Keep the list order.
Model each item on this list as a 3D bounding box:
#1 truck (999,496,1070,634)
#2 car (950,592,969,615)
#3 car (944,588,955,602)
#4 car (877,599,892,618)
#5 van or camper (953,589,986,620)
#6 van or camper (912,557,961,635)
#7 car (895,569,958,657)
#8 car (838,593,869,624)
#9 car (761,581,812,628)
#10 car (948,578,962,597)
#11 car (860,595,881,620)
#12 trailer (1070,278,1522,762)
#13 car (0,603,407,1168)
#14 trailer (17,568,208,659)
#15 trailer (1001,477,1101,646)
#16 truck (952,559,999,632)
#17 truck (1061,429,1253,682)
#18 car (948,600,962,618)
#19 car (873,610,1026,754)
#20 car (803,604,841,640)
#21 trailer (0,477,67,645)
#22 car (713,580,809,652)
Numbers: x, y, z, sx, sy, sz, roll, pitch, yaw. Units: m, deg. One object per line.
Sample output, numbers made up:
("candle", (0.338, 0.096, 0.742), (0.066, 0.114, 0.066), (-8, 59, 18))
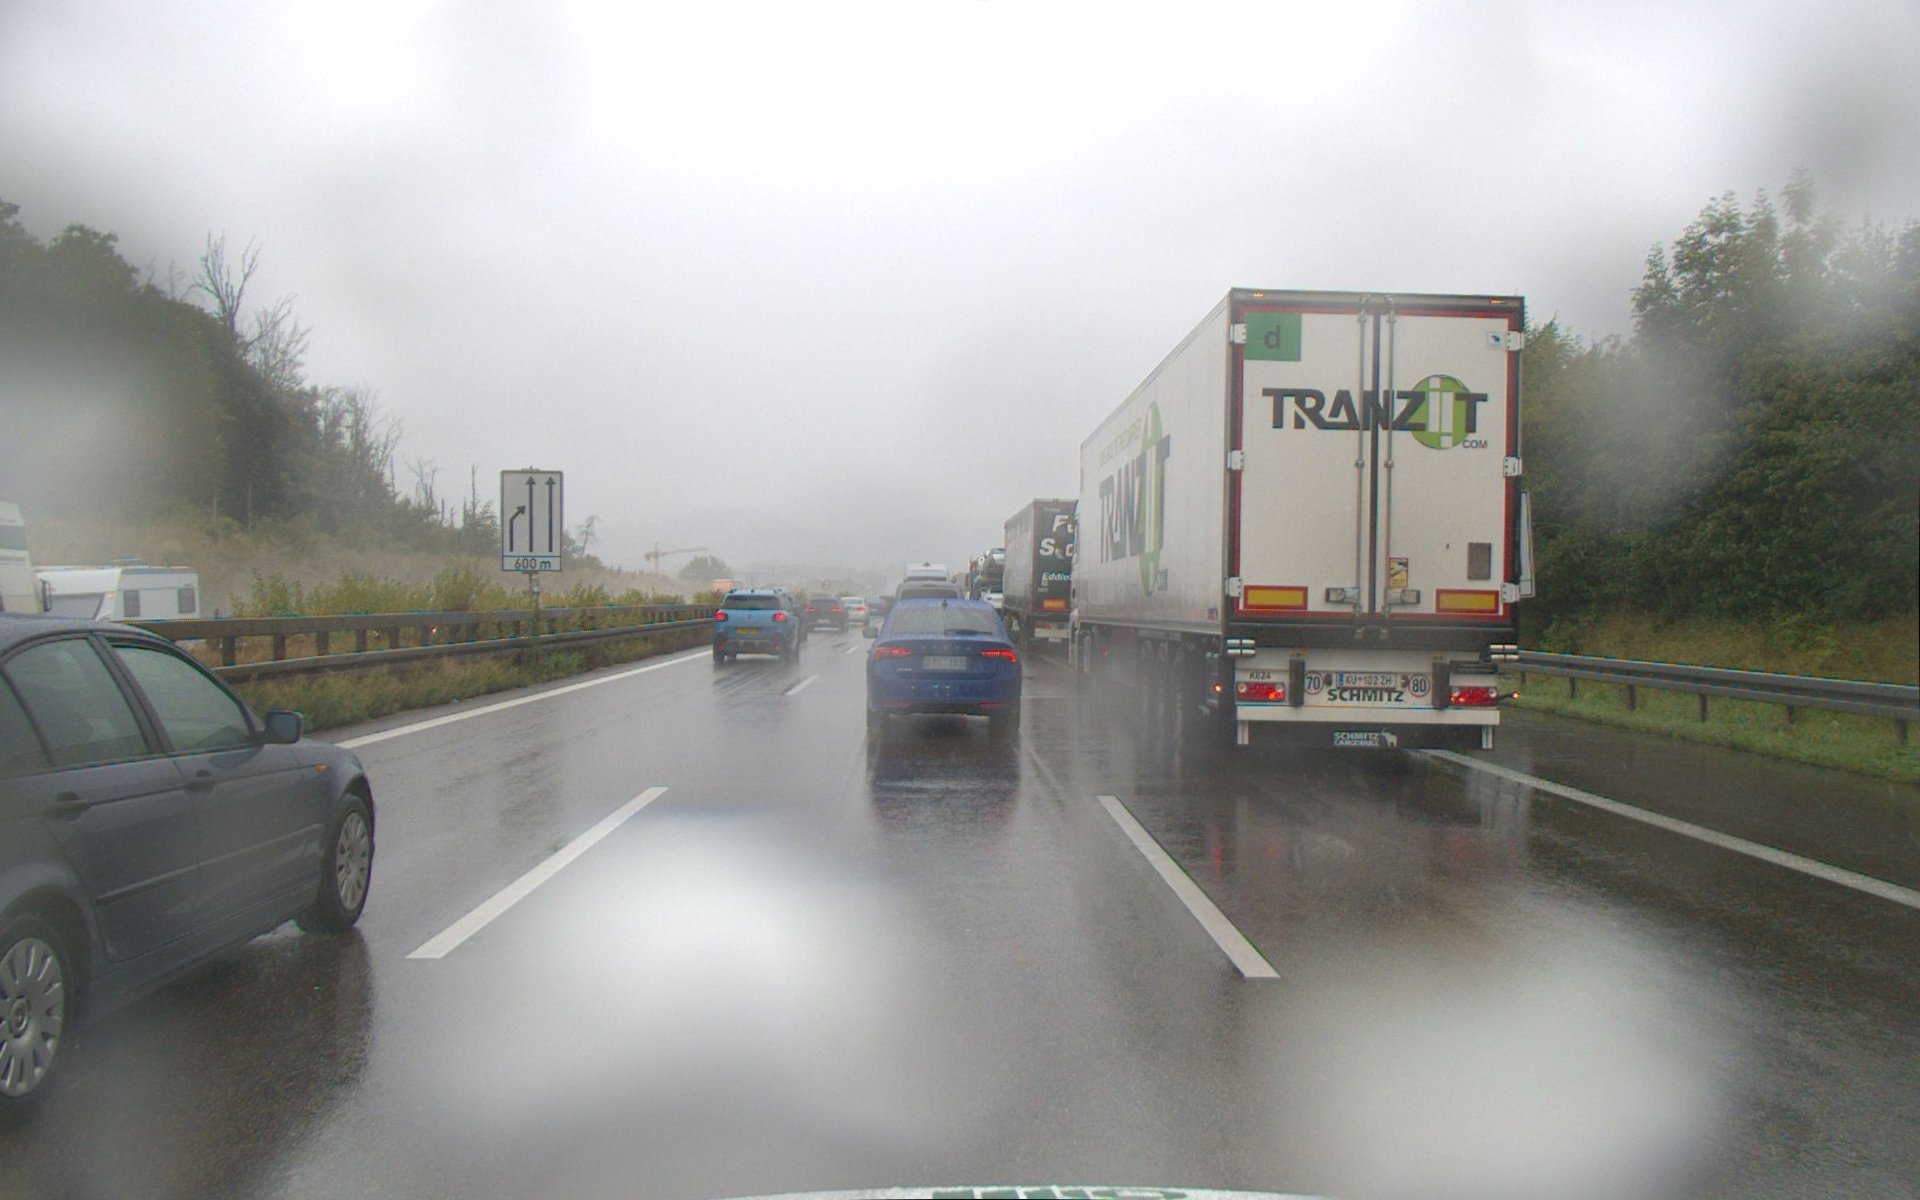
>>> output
("truck", (2.341, -1.097, 52.993), (2.005, 4.266, 3.999), (0, 0, -1))
("car", (-0.066, 0.277, 134.332), (1.419, 1.815, 3.408), (1, 0, -1))
("car", (-1.449, -0.700, 224.911), (1.419, 1.815, 3.408), (1, 0, -1))
("car", (-7.567, 0.838, 165.299), (1.419, 1.815, 3.408), (1, 0, -1))
("van or camper", (0.493, 0.255, 93.634), (1.736, 1.653, 4.483), (0, 1, -1))
("van or camper", (-0.916, -0.161, 62.923), (1.761, 2.855, 4.767), (0, 0, -1))
("car", (-0.728, 0.256, 36.049), (1.309, 1.811, 3.321), (0, 0, -1))
("car", (-5.517, 0.431, 85.815), (1.410, 1.560, 3.321), (0, 0, -1))
("car", (-5.613, 0.129, 53.764), (1.331, 1.456, 3.363), (0, 0, -1))
("car", (-0.528, -1.251, 170.481), (1.308, 1.923, 3.039), (-1, 0, -1))
("car", (-6.810, 0.575, 126.181), (1.419, 1.815, 3.408), (1, 0, -1))
("trailer", (3.338, -0.736, 21.331), (2.577, 4.083, 14.626), (0, 0, -1))
("car", (-3.363, 0.740, 5.626), (1.683, 1.424, 4.228), (0, 0, -2))
("trailer", (-20.709, 0.353, 40.729), (2.050, 2.049, 5.348), (-1, -1, -2))
("trailer", (2.438, -1.024, 47.355), (2.005, 4.249, 11.445), (0, 0, -1))
("truck", (0.744, -0.287, 83.262), (1.953, 3.481, 8.029), (0, 1, -2))
("truck", (3.209, -0.705, 28.025), (2.577, 3.894, 4.790), (0, 0, -1))
("car", (-0.442, 0.793, 146.024), (1.223, 1.538, 3.107), (0, 1, -1))
("car", (-0.125, 0.877, 19.433), (1.602, 1.470, 4.000), (0, 0, 0))
("car", (-5.806, 0.915, 69.862), (1.410, 1.445, 3.321), (0, 0, -1))
("trailer", (-17.073, -0.656, 25.695), (2.431, 2.767, 7.322), (-1, -1, 0))
("car", (-4.466, 0.339, 37.598), (1.686, 1.550, 4.000), (0, 0, 0))
